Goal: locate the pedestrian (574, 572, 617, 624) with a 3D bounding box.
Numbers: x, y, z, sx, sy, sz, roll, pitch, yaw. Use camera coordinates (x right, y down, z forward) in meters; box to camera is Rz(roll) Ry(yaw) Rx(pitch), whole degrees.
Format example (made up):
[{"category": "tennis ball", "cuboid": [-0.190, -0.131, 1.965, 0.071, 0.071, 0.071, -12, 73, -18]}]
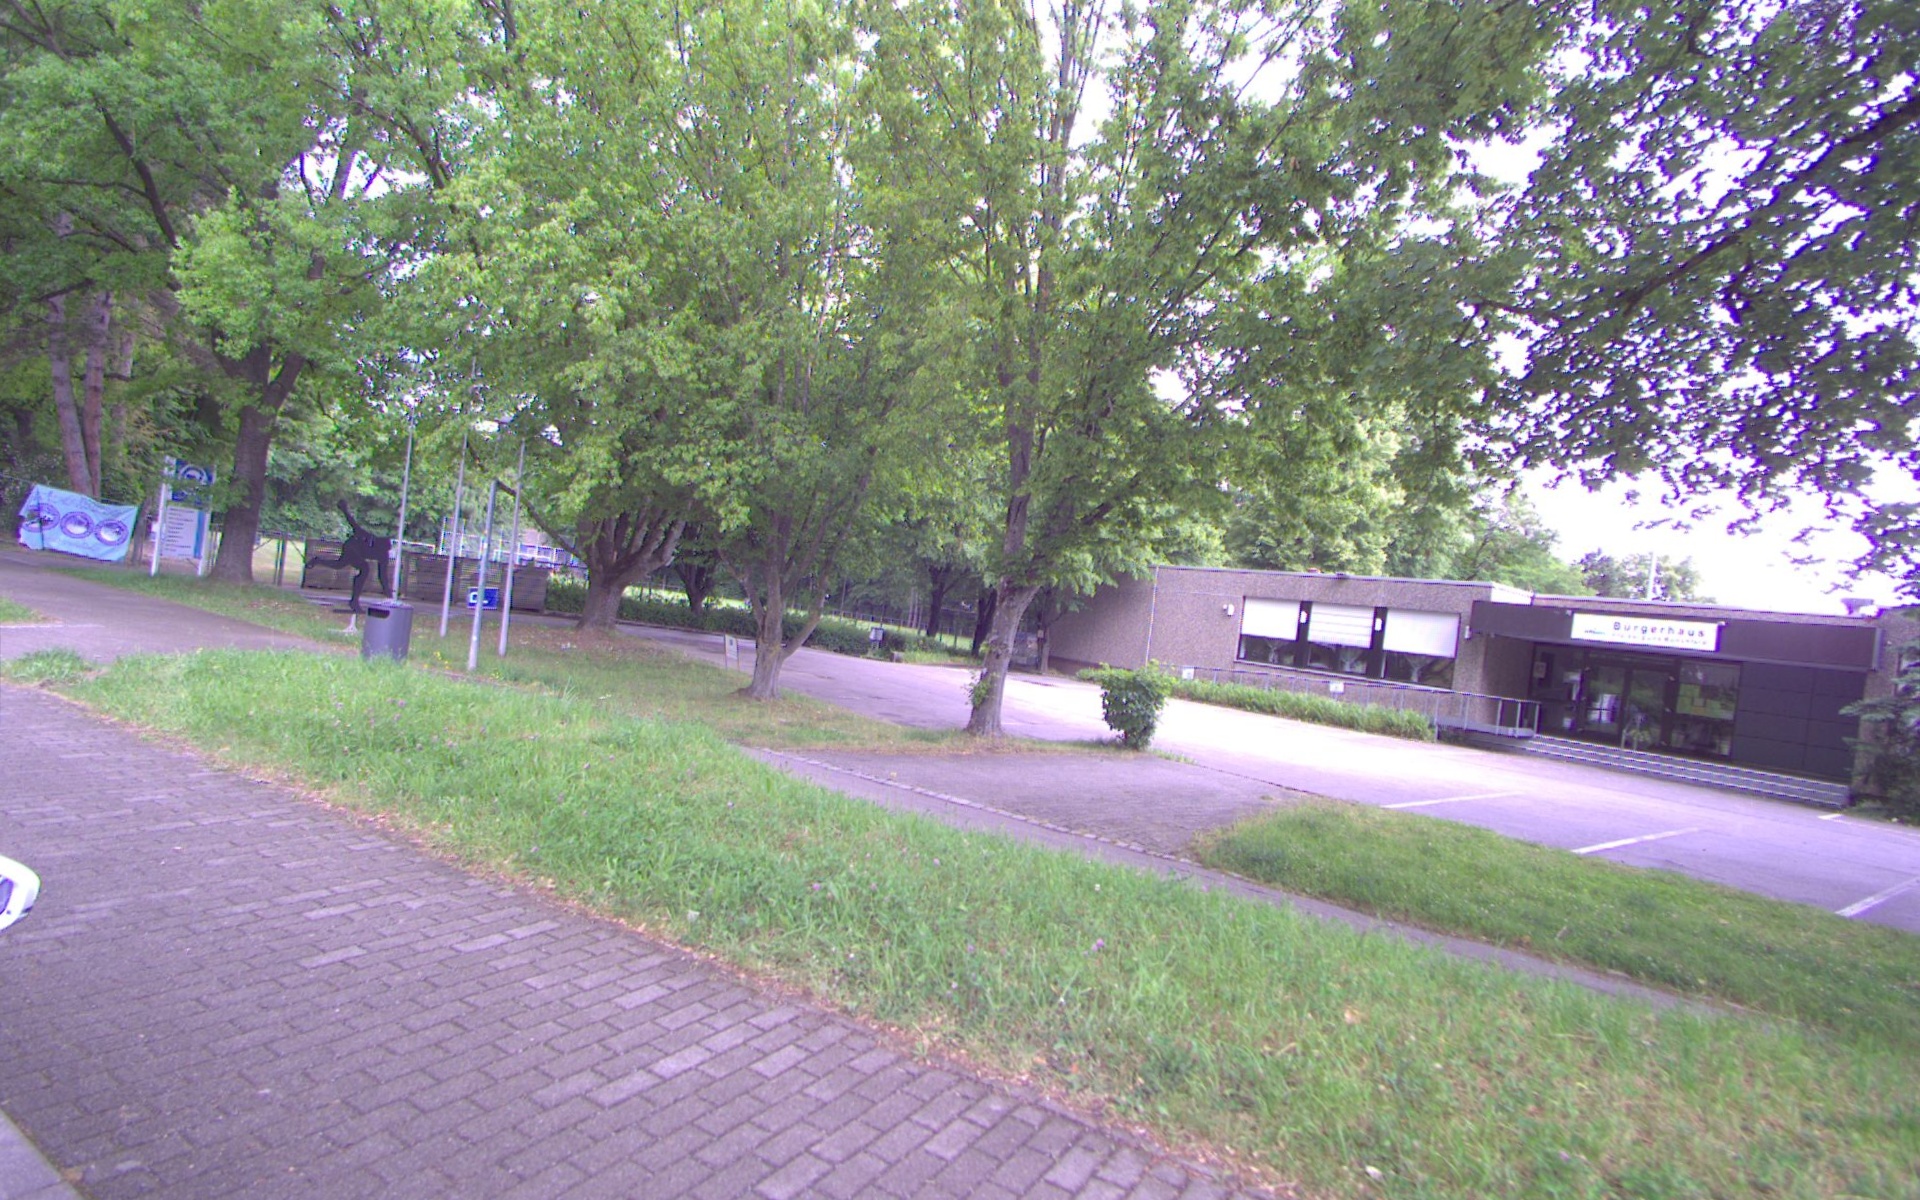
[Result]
[{"category": "pedestrian", "cuboid": [-12.770, -0.073, 35.216, 1.140, 1.695, 0.786, 5, 1, -33]}]
